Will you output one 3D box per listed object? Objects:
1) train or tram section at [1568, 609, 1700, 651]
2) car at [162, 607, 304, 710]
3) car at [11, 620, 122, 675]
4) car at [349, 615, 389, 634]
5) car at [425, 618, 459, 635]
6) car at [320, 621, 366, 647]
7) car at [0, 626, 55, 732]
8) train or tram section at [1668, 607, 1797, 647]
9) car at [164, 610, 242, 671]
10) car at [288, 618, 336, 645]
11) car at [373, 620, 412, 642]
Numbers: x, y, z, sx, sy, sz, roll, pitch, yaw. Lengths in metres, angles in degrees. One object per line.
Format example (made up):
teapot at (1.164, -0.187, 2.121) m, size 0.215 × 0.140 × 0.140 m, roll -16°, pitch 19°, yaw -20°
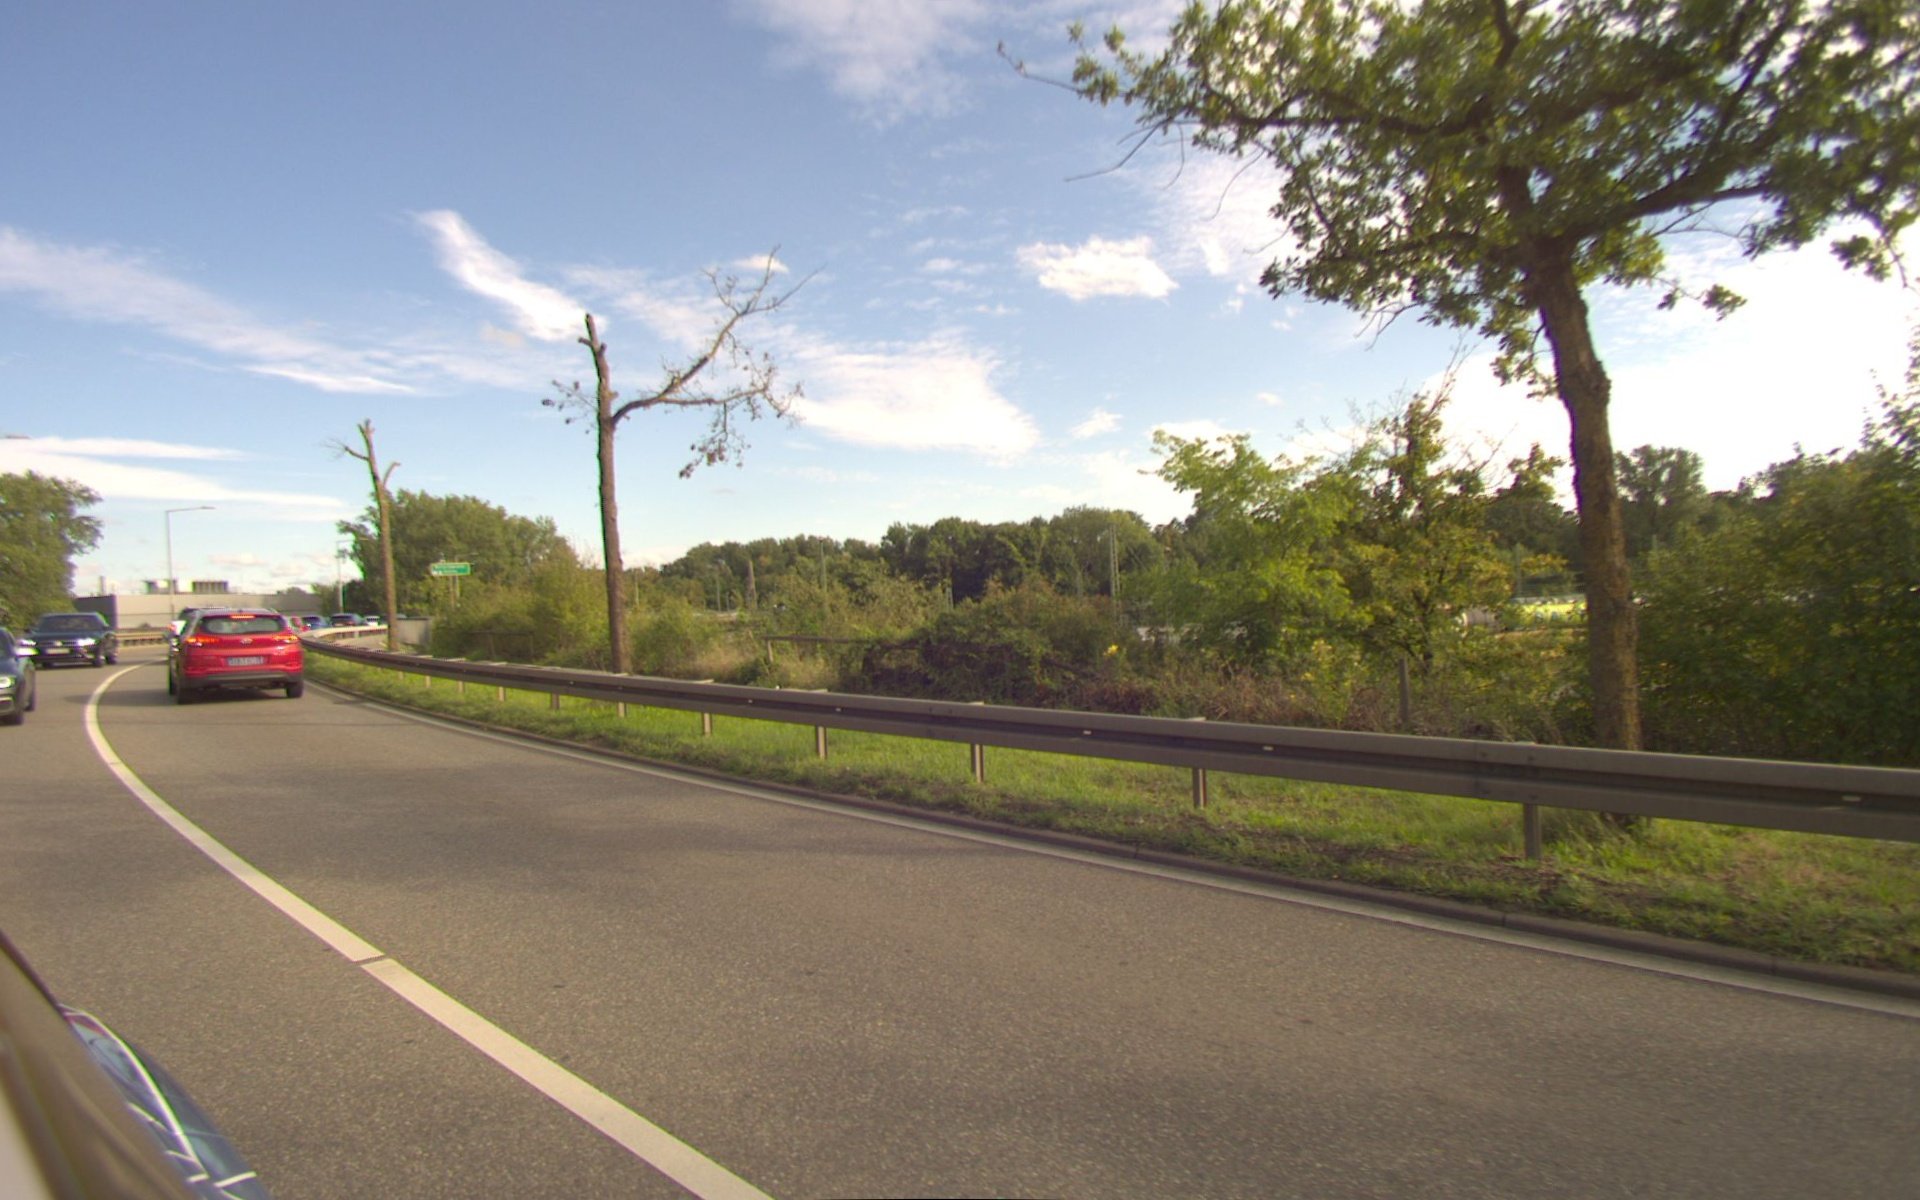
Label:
train or tram section at (85.391, 3.735, 128.109) m, size 16.473 × 4.748 × 3.104 m, roll -1°, pitch 0°, yaw -12°
car at (-13.729, 1.010, 19.008) m, size 1.787 × 1.687 × 4.304 m, roll -1°, pitch 0°, yaw -41°
car at (-26.995, 1.381, 30.723) m, size 1.789 × 1.518 × 4.404 m, roll 0°, pitch -1°, yaw -32°
car at (-50.064, 2.054, 85.782) m, size 1.789 × 1.518 × 4.403 m, roll -1°, pitch -1°, yaw -14°
car at (-48.918, 2.507, 95.684) m, size 1.808 × 1.477 × 4.529 m, roll -1°, pitch -1°, yaw -13°
car at (-42.632, 2.322, 70.010) m, size 1.898 × 1.662 × 4.603 m, roll -1°, pitch -1°, yaw -21°
car at (-14.754, 1.116, 14.877) m, size 1.758 × 1.415 × 3.980 m, roll 0°, pitch -1°, yaw -36°
train or tram section at (99.619, 3.444, 130.512) m, size 16.473 × 4.748 × 3.104 m, roll -1°, pitch 0°, yaw -12°
car at (-25.156, 1.290, 33.770) m, size 1.875 × 1.824 × 5.417 m, roll -1°, pitch 0°, yaw -35°
car at (-39.707, 1.907, 62.128) m, size 1.773 × 1.531 × 4.021 m, roll -1°, pitch -1°, yaw -22°
car at (-45.684, 2.471, 81.547) m, size 1.658 × 1.662 × 4.310 m, roll -1°, pitch -1°, yaw -14°
